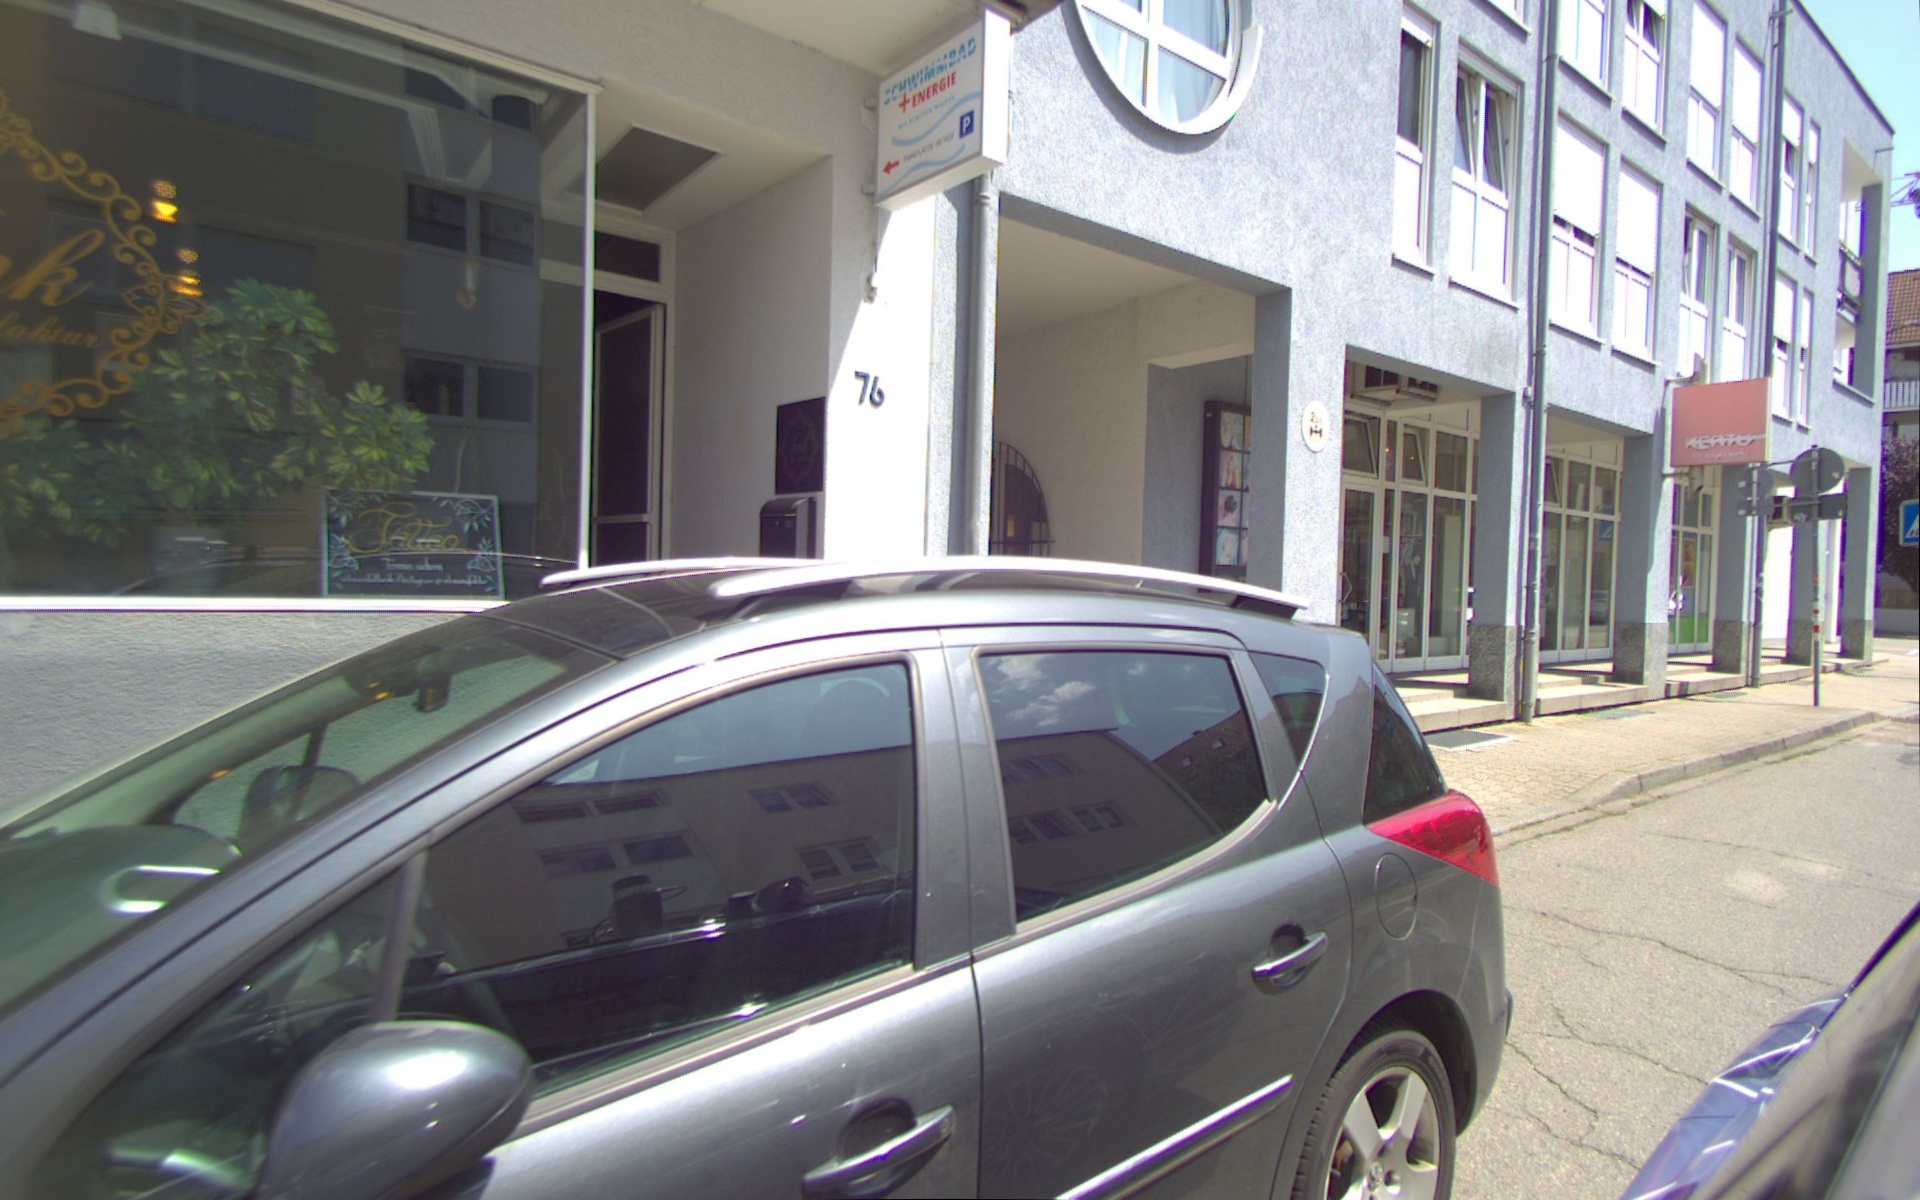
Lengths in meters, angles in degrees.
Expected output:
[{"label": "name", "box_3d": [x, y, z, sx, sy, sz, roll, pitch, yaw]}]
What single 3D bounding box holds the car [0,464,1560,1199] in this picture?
[{"label": "car", "box_3d": [-0.741, 0.629, 1.795, 3.926, 1.526, 1.715, 0, 2, -37]}]
